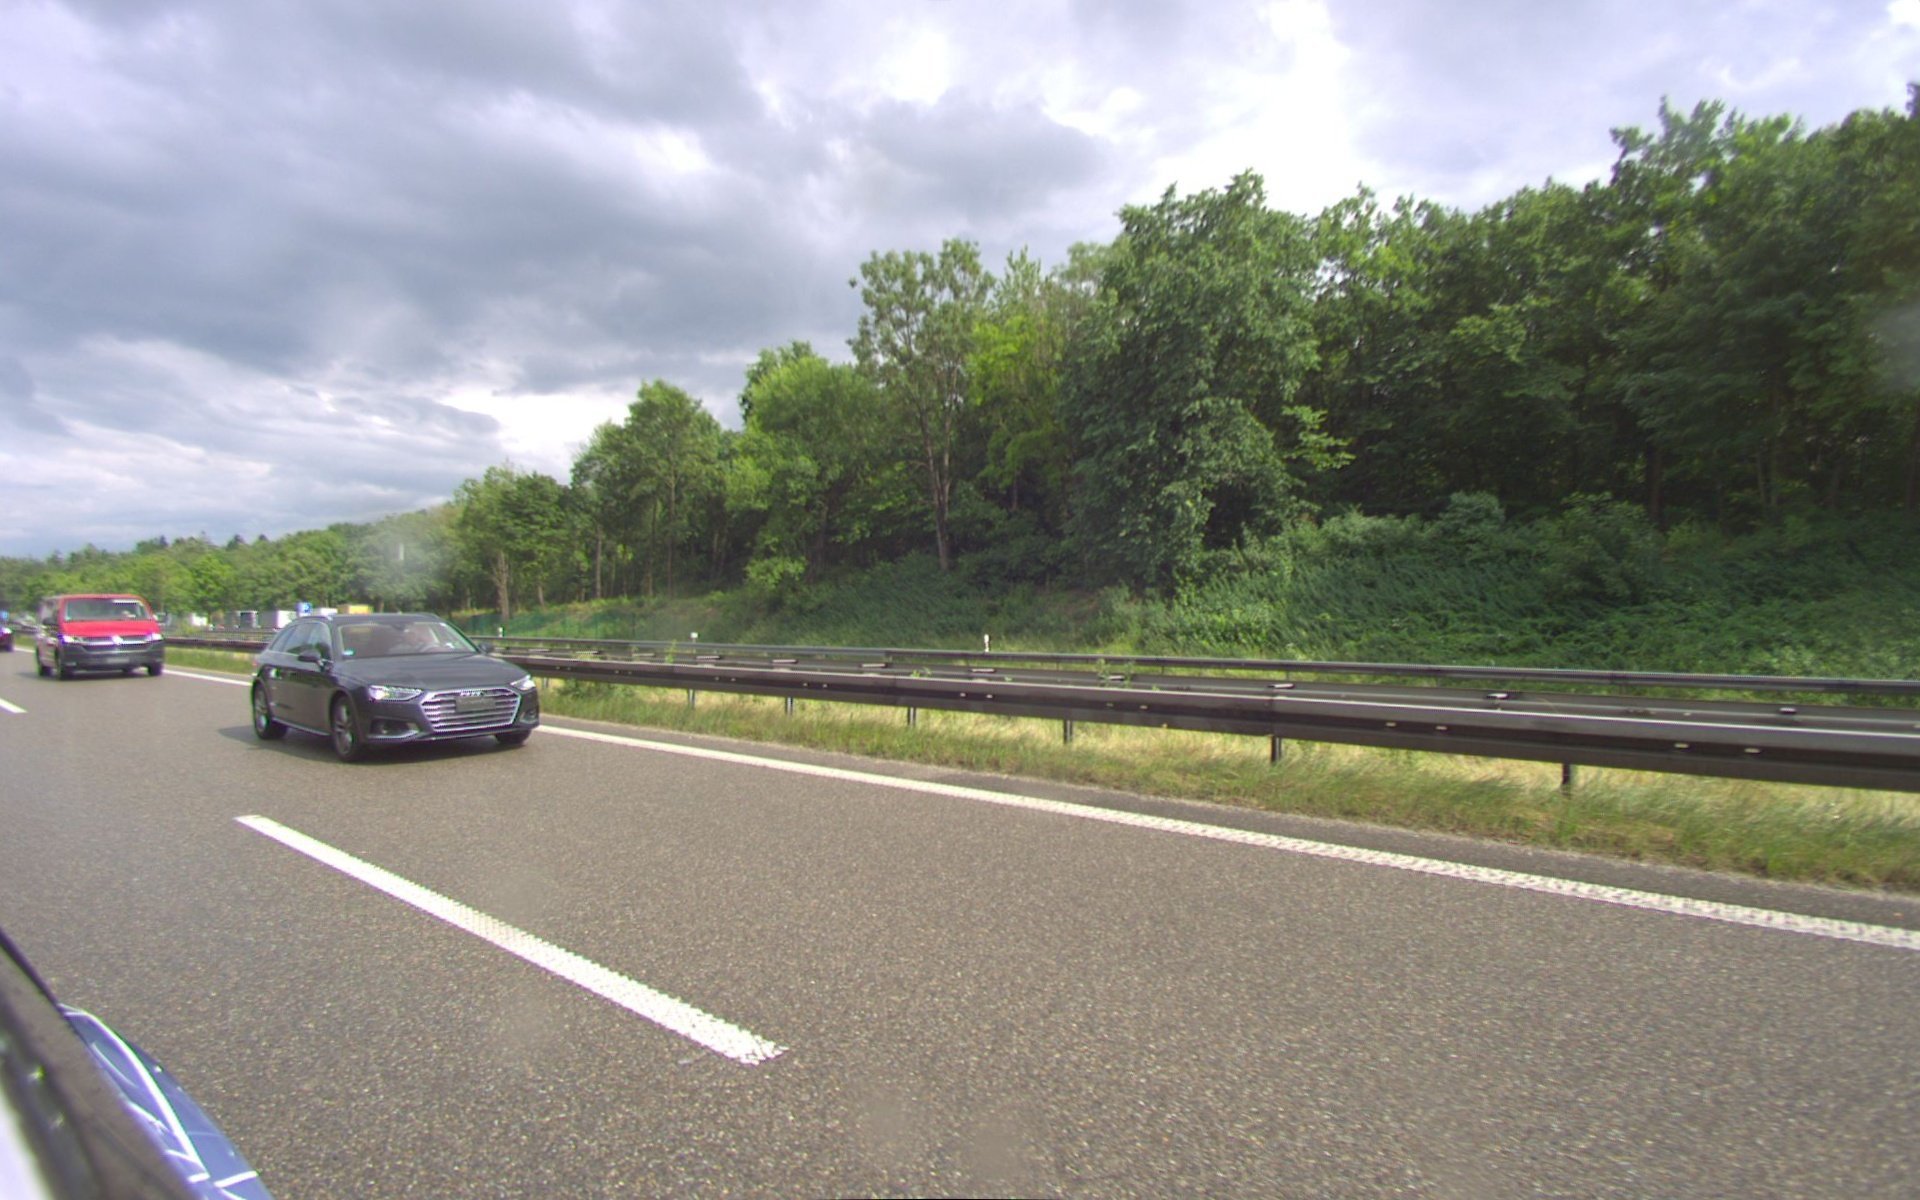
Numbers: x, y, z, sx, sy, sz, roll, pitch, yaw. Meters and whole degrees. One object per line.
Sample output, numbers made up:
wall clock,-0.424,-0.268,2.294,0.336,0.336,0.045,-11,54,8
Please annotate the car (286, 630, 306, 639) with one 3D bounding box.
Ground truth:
car,-107.184,5.542,163.431,4.002,1.514,1.873,-2,-3,45

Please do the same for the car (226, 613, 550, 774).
car,-6.430,0.878,11.144,4.465,1.422,1.702,-1,-1,41

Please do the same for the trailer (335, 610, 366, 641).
trailer,-76.596,3.108,127.082,1.967,3.723,13.688,0,0,-37

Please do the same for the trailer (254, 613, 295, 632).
trailer,-118.197,3.865,174.363,12.172,3.217,2.987,-1,-3,43

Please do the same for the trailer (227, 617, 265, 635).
trailer,-131.917,4.838,186.881,12.639,3.297,2.577,-1,-3,41

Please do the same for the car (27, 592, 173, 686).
car,-20.360,0.900,23.888,4.747,2.000,1.871,-1,-2,40

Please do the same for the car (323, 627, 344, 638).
car,-87.615,4.473,141.477,1.871,1.514,4.005,2,-3,-42

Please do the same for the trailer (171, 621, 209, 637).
trailer,-158.816,5.978,208.636,12.631,3.297,3.153,-1,-3,38

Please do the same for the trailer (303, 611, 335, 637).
trailer,-95.140,3.602,150.120,2.156,3.627,11.734,2,-3,-42

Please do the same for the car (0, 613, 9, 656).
car,-39.594,1.384,40.435,4.292,1.682,1.871,-1,-1,40
